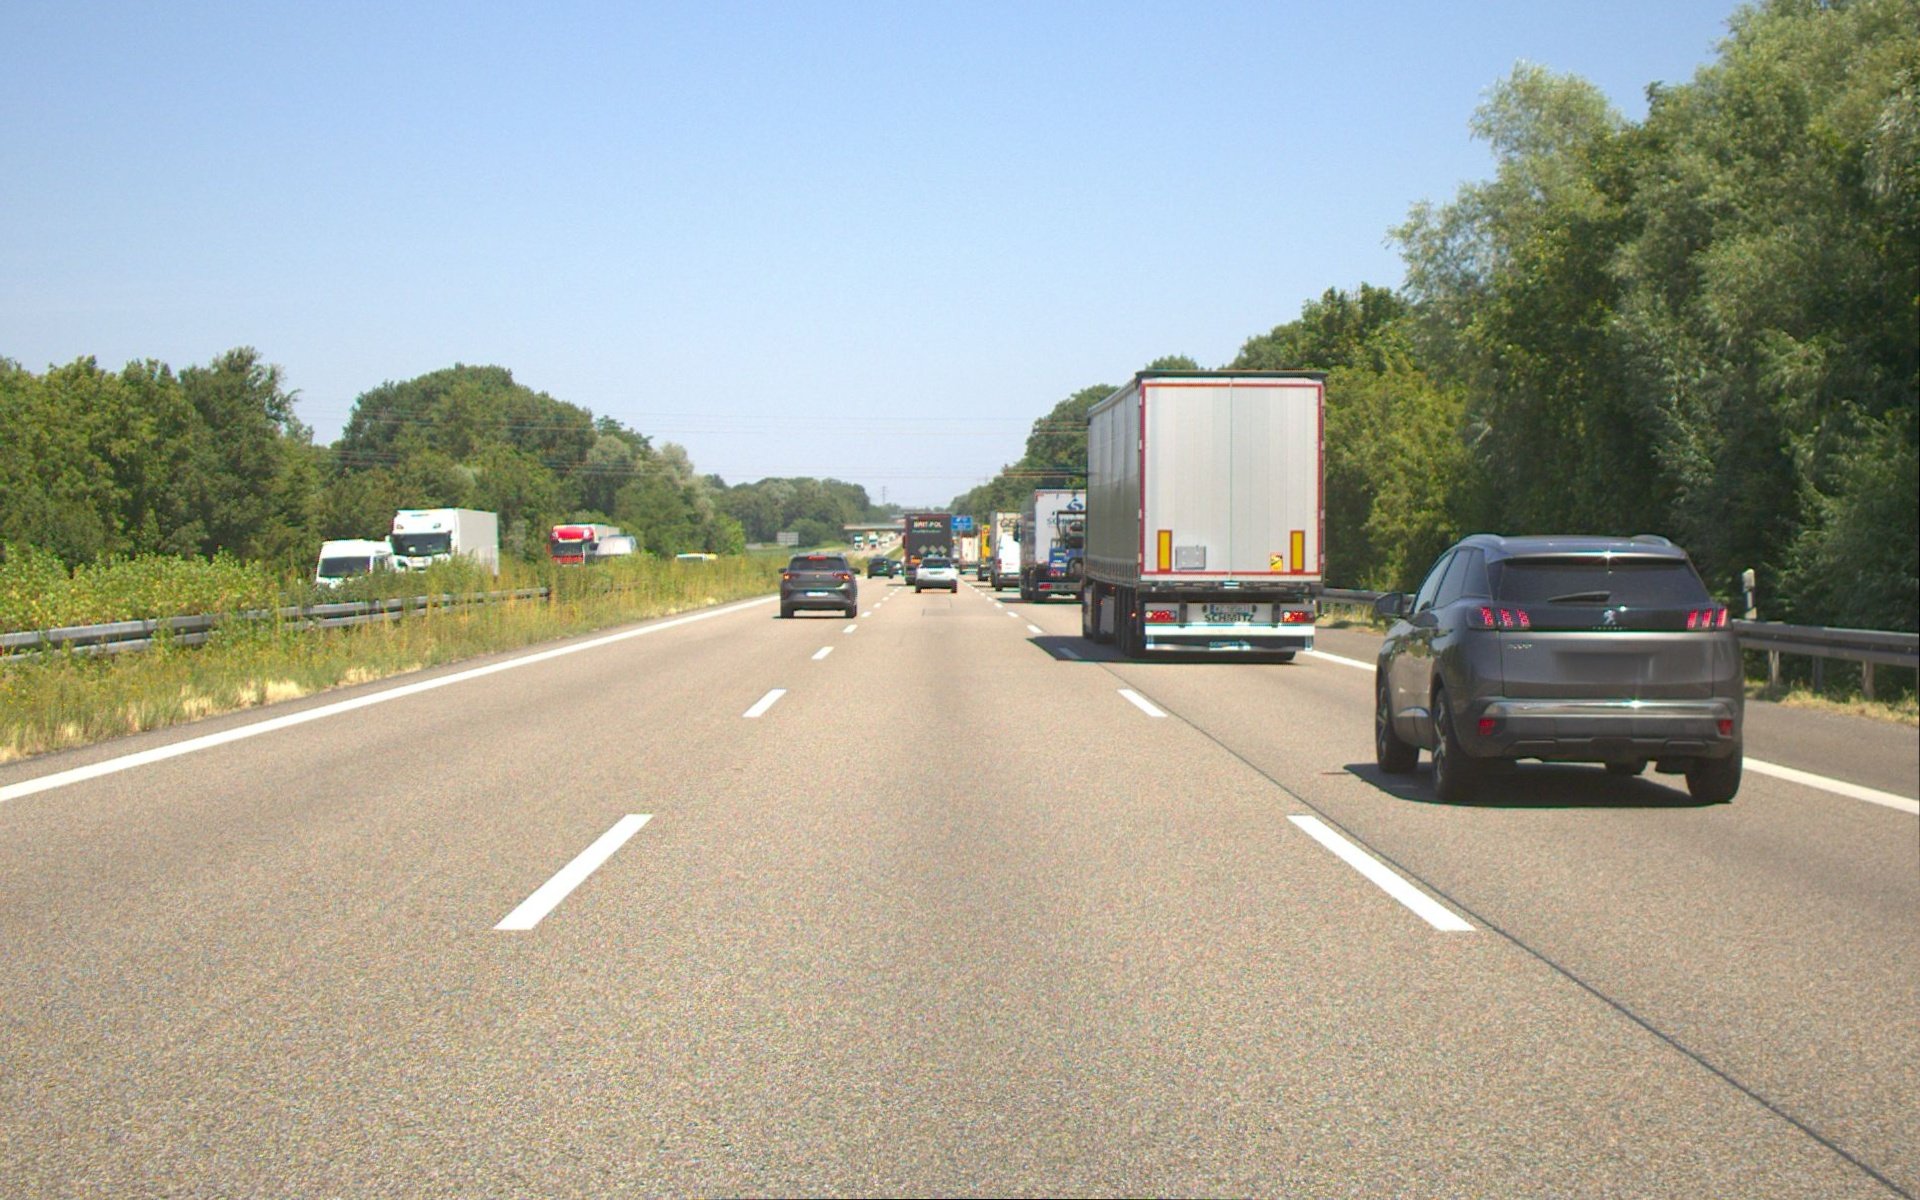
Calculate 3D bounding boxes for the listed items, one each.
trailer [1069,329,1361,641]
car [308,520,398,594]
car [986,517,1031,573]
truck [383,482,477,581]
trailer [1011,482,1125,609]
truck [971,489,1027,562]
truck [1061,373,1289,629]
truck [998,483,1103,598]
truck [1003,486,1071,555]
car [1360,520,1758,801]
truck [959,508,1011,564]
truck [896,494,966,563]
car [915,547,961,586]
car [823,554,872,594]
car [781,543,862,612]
[{"bbox_3d":[3.664,-1.669,53.277,3.434,4.167,13.633,1,1,0],"label":"trailer"},{"bbox_3d":[-21.124,-1.520,119.948,2.103,2.455,6.016,-1,1,-1],"label":"car"},{"bbox_3d":[2.186,-2.506,155.594,1.907,2.417,4.286,1,2,0],"label":"car"},{"bbox_3d":[-22.474,-2.947,146.092,3.071,4.097,6.526,1,2,-1],"label":"truck"},{"bbox_3d":[3.448,-1.852,112.263,3.122,3.913,9.938,1,2,-1],"label":"trailer"},{"bbox_3d":[2.058,-3.932,179.699,2.792,3.713,7.108,1,2,1],"label":"truck"},{"bbox_3d":[3.639,-1.646,59.952,3.464,4.163,6.844,1,0,0],"label":"truck"},{"bbox_3d":[3.152,-2.196,122.187,3.057,3.865,10.035,1,2,-2],"label":"truck"},{"bbox_3d":[4.250,-4.472,191.520,3.667,3.713,7.108,1,2,1],"label":"truck"},{"bbox_3d":[3.746,0.306,22.192,1.845,1.623,4.135,0,1,0],"label":"car"},{"bbox_3d":[1.735,-4.462,236.884,3.489,3.713,7.108,1,2,1],"label":"truck"},{"bbox_3d":[-1.583,-4.023,191.430,3.667,3.713,7.108,1,2,1],"label":"truck"},{"bbox_3d":[-0.951,-1.447,146.459,1.900,1.525,4.084,1,2,0],"label":"car"},{"bbox_3d":[-4.668,-1.099,142.554,1.900,1.525,4.084,1,2,0],"label":"car"},{"bbox_3d":[-3.303,-0.557,82.697,1.759,1.525,4.286,1,2,0],"label":"car"}]
